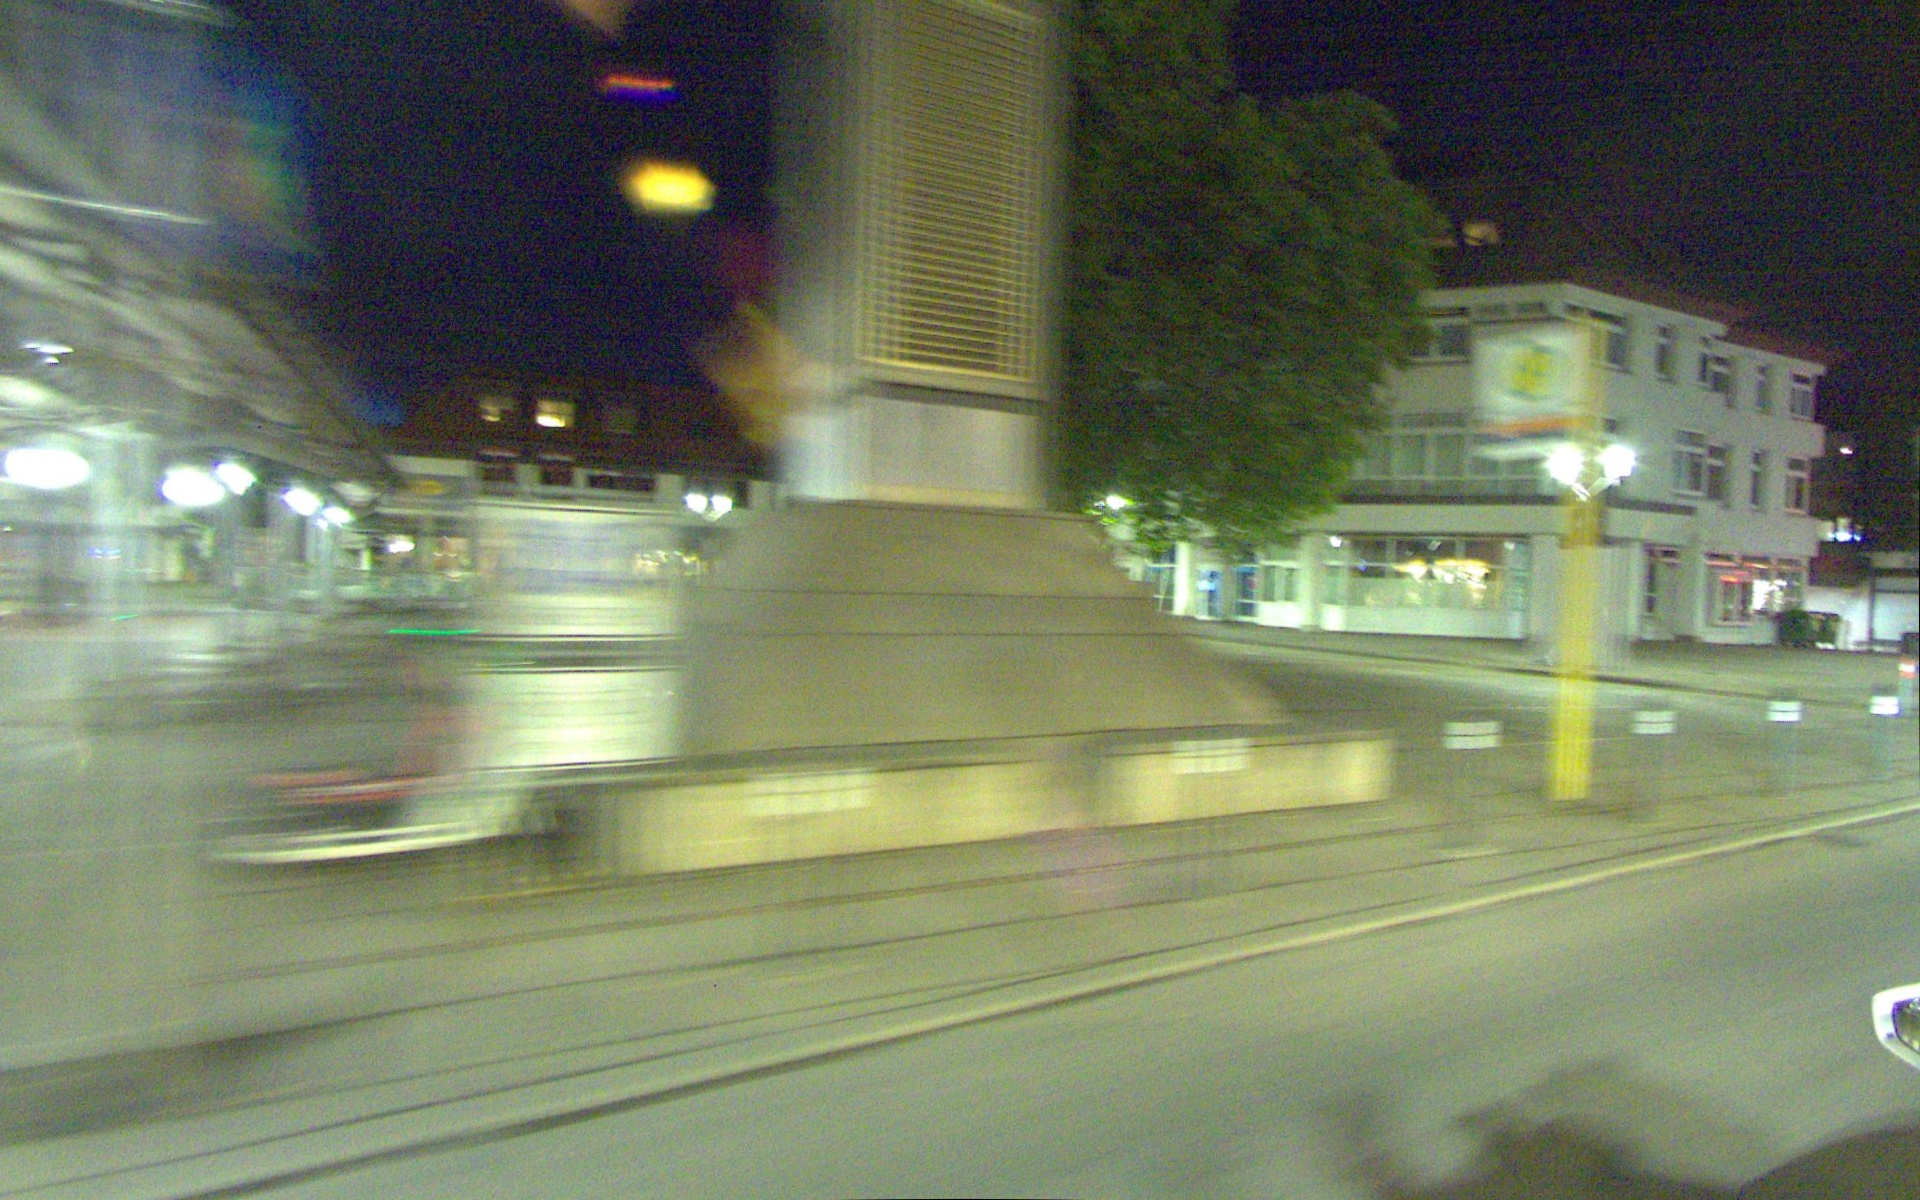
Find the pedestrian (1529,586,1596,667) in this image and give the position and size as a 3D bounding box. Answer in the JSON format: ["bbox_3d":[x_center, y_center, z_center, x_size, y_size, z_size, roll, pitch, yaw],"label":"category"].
[{"bbox_3d":[14.366,0.615,23.965,1.005,1.842,0.793,3,2,-9],"label":"pedestrian"}]

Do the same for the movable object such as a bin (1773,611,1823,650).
[{"bbox_3d":[33.186,1.209,39.788,1.270,1.463,1.032,3,1,-28],"label":"movable object such as a bin"}]

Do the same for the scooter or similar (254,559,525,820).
[{"bbox_3d":[-3.345,0.481,5.975,1.335,1.398,0.593,0,1,-30],"label":"scooter or similar"}]

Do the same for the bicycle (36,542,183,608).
[{"bbox_3d":[-19.893,-0.568,23.585,2.482,1.382,0.769,3,0,-31],"label":"bicycle"}]

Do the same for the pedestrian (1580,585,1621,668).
[{"bbox_3d":[14.491,0.592,22.724,0.494,1.846,0.502,3,0,-4],"label":"pedestrian"}]

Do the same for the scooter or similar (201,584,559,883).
[{"bbox_3d":[-2.717,0.584,4.819,1.431,1.281,0.367,1,3,-29],"label":"scooter or similar"}]

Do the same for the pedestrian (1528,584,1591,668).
[{"bbox_3d":[13.833,0.593,23.200,0.775,1.856,0.880,3,2,-3],"label":"pedestrian"}]

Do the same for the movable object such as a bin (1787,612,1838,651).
[{"bbox_3d":[34.312,1.256,40.414,1.212,1.477,1.126,3,1,-28],"label":"movable object such as a bin"}]

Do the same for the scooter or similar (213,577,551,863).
[{"bbox_3d":[-2.863,0.559,5.081,1.431,1.306,0.315,1,3,-29],"label":"scooter or similar"}]
